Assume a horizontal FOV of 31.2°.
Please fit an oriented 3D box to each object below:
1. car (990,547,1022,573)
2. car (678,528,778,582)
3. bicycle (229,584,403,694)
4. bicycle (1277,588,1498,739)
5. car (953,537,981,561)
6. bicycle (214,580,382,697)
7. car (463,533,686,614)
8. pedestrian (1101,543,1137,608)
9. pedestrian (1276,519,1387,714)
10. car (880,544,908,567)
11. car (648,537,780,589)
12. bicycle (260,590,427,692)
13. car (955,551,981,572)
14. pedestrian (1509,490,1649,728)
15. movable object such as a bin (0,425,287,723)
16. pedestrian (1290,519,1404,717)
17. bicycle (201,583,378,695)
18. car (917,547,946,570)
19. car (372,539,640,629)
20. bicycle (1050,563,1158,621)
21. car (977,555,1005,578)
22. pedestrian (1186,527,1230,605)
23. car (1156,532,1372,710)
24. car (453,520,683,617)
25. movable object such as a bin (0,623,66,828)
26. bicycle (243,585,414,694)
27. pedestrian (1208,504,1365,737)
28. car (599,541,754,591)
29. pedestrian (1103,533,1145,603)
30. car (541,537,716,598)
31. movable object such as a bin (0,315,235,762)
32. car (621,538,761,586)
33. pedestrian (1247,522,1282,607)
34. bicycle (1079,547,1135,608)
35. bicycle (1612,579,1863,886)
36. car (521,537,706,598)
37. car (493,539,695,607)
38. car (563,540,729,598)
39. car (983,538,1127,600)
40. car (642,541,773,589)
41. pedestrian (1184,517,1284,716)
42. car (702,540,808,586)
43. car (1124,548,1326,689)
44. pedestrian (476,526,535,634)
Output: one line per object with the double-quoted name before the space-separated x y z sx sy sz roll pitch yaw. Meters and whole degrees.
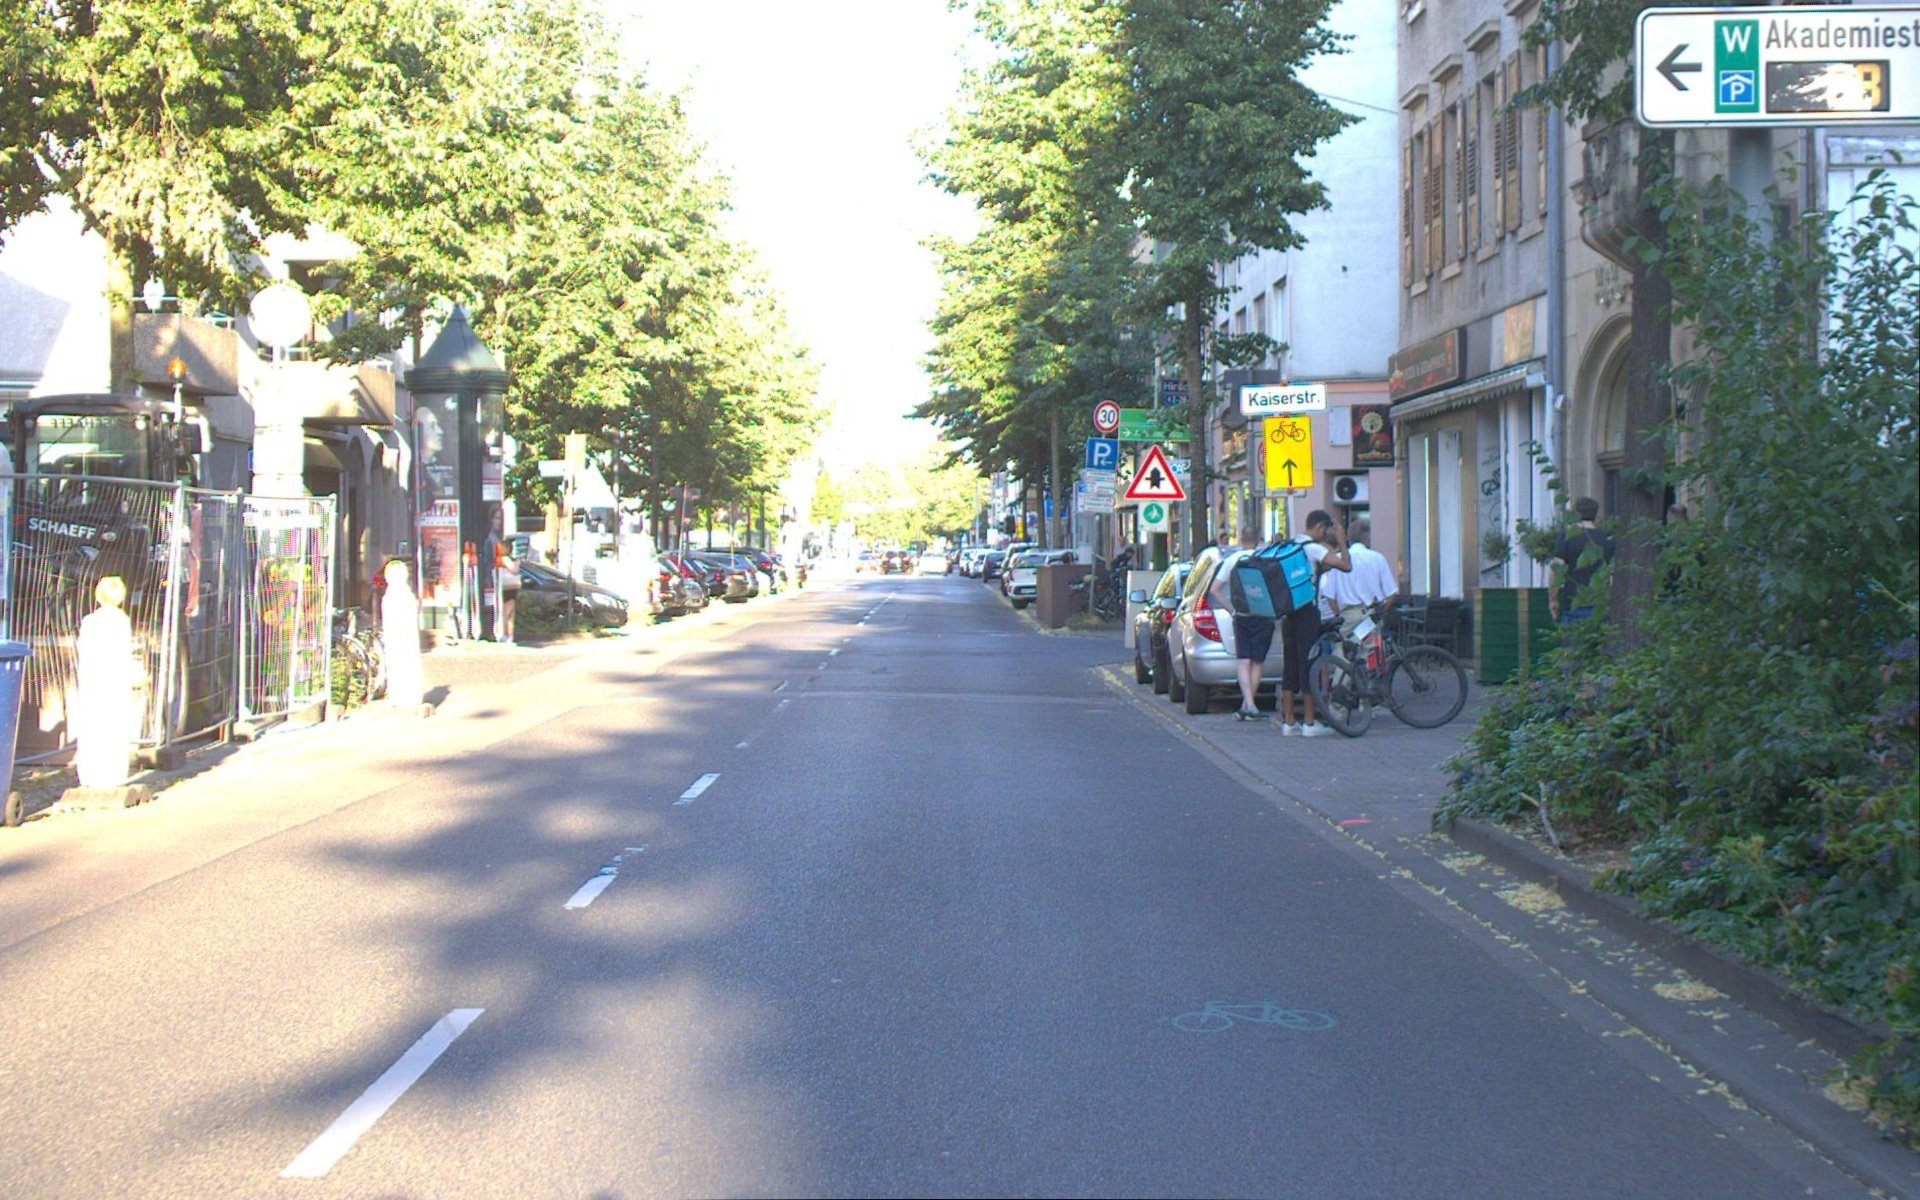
"car" 2.273 -1.976 169.846 1.513 1.271 3.303 0 1 1
"car" -10.595 -2.075 157.355 4.442 2.426 1.919 0 1 1
"bicycle" -6.707 0.404 35.814 1.683 1.075 0.444 2 0 8
"bicycle" 3.483 0.500 27.877 0.866 1.095 1.922 -1 2 39
"car" 0.455 -3.266 222.159 1.752 1.535 3.303 0 0 1
"bicycle" -6.606 0.388 34.331 1.544 1.113 0.444 3 0 -33
"car" -8.296 -0.578 74.289 4.571 1.692 2.060 1 1 1
"pedestrian" 3.401 -0.530 73.562 0.726 1.373 0.781 0 1 0
"pedestrian" 3.337 0.139 30.922 0.677 1.700 0.825 -3 1 -15
"car" -4.368 -2.946 227.899 1.752 1.535 3.303 0 0 1
"car" -8.565 -1.299 119.907 4.442 1.753 1.919 1 1 1
"bicycle" -6.655 0.440 37.125 1.683 1.018 0.444 2 0 8
"car" 0.484 -2.360 210.696 1.513 1.294 3.303 0 1 1
"pedestrian" 4.995 0.063 27.799 0.822 1.847 1.097 -3 1 -2
"movable object such as a bin" -8.836 -0.231 29.499 2.312 2.486 5.740 1 1 43
"pedestrian" 3.402 0.159 30.213 0.651 1.694 0.668 -4 1 -44
"bicycle" -6.860 0.398 35.223 1.682 1.075 0.444 2 0 -1
"car" -1.789 -2.618 217.985 1.721 1.470 3.303 0 0 1
"car" -8.048 -0.296 61.195 4.546 1.536 1.811 1 1 -1
"bicycle" 2.733 -0.160 65.472 1.958 1.070 0.704 1 1 32
"car" 1.705 -1.846 188.018 1.513 1.259 3.303 0 1 1
"pedestrian" 5.172 -0.707 71.578 0.797 1.620 0.911 0 1 12
"car" 2.925 0.155 33.803 1.687 1.569 4.013 -3 1 0
"car" -8.135 -0.666 71.669 4.571 1.955 1.991 1 1 0
"movable object such as a bin" -5.500 0.698 19.301 0.690 1.101 0.883 -1 1 2
"bicycle" -6.686 0.411 36.401 1.683 1.075 0.444 2 0 8
"pedestrian" 2.644 0.156 27.893 1.013 1.819 0.780 -3 1 -10
"car" -8.423 -1.018 102.533 4.442 1.444 1.919 1 1 1
"pedestrian" 4.580 -0.901 96.052 0.916 1.919 1.018 1 1 -10
"car" -8.770 -0.876 91.299 4.442 1.562 1.919 1 1 1
"movable object such as a bin" -7.215 -0.453 25.433 2.625 2.959 5.304 0 1 -1
"car" -8.844 -1.256 113.406 4.442 1.518 1.919 1 1 1
"pedestrian" 5.789 -0.678 65.388 0.567 1.594 0.663 -2 2 0
"bicycle" 2.868 -0.446 66.928 0.598 1.174 1.844 0 1 19
"bicycle" 3.239 0.519 14.225 0.483 1.139 1.678 -2 1 30
"car" -8.671 -0.818 86.312 4.442 1.453 1.859 1 1 1
"car" -8.433 -0.619 79.437 4.442 1.501 1.845 1 1 1
"car" -8.740 -0.867 96.013 4.442 1.562 1.919 1 1 1
"car" 2.520 -0.828 90.263 1.674 1.583 3.814 1 1 43
"car" -8.630 -1.201 117.806 4.304 1.592 1.919 1 1 1
"pedestrian" 2.450 0.137 30.758 0.677 1.748 0.825 -1 1 -11
"car" -8.790 -1.596 147.716 4.442 1.953 1.919 0 1 1
"car" 2.883 0.163 38.278 1.785 1.371 4.524 -3 1 -1
"pedestrian" -7.143 -0.315 54.067 0.710 1.680 0.833 0 1 9
